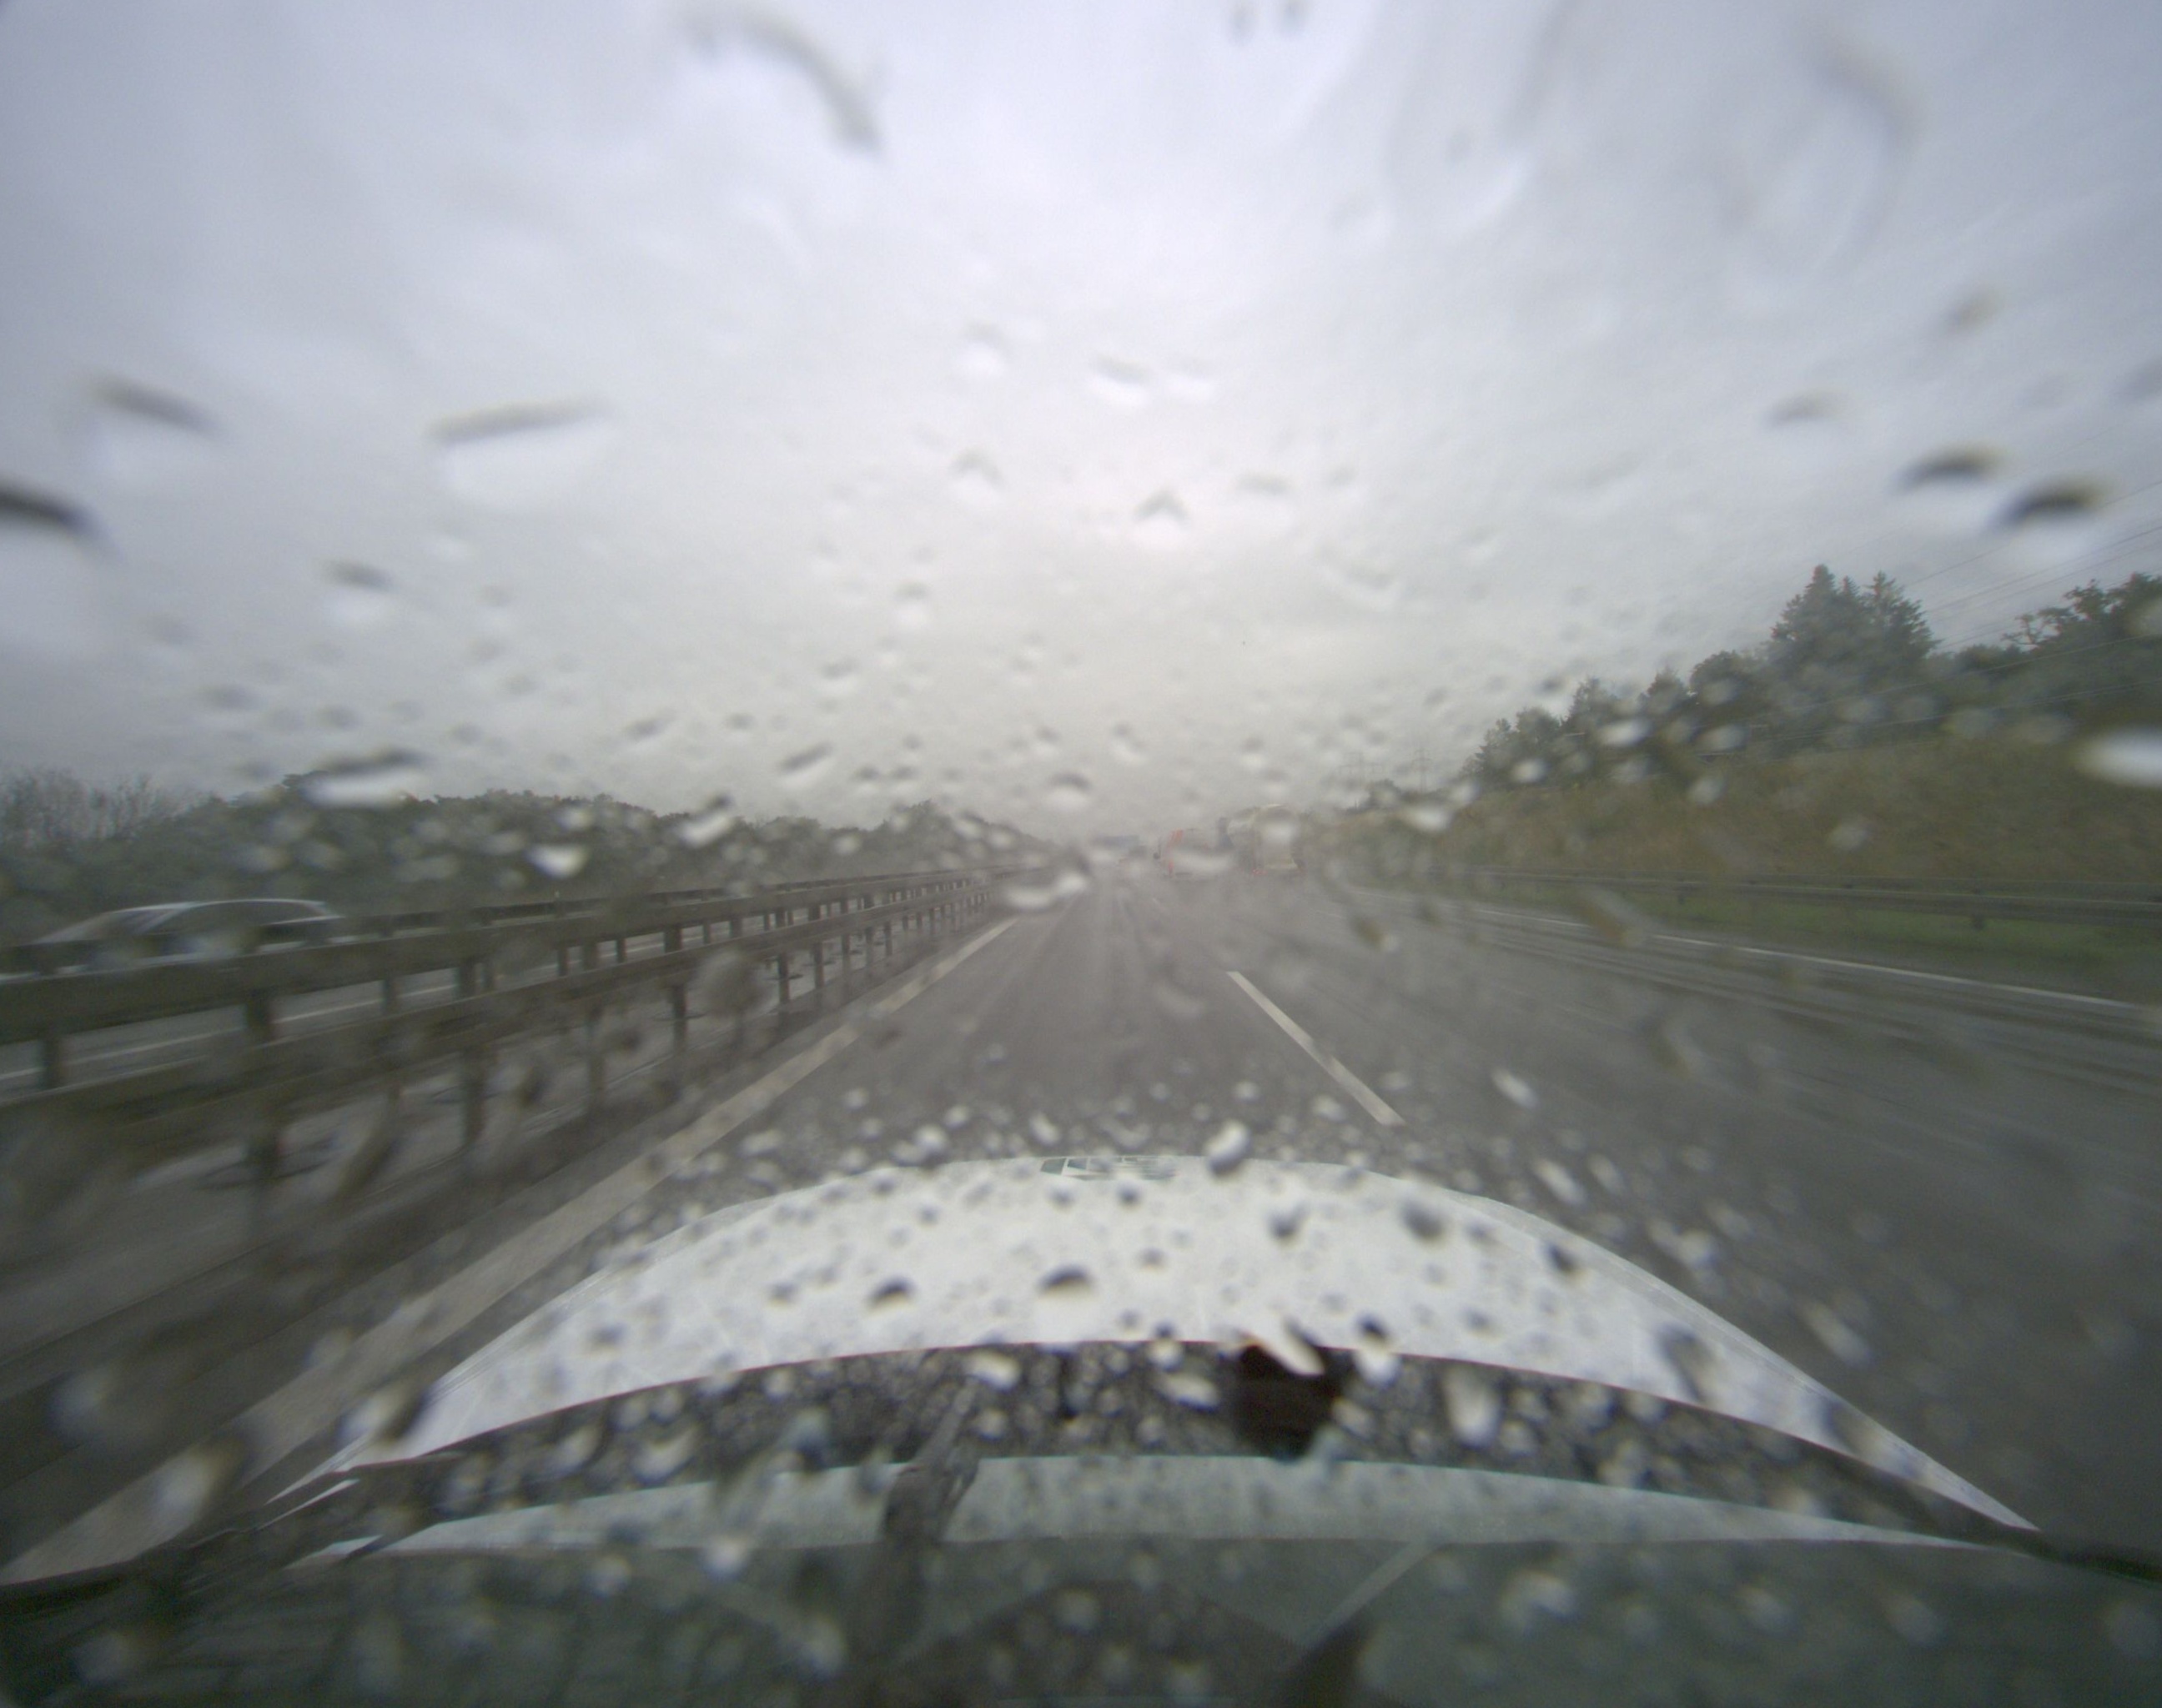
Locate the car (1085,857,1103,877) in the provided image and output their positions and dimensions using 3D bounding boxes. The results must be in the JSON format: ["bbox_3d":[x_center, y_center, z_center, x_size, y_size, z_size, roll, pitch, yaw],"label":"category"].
[{"bbox_3d":[1.264,1.224,78.269,1.695,1.818,3.863,-1,0,2],"label":"car"}]

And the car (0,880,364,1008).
[{"bbox_3d":[-14.531,1.254,12.978,1.986,1.530,4.656,-1,0,1],"label":"car"}]

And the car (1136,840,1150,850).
[{"bbox_3d":[13.263,-1.940,174.459,2.778,2.013,4.994,-1,0,1],"label":"car"}]

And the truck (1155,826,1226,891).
[{"bbox_3d":[4.487,0.174,34.286,2.410,2.492,5.563,-1,0,2],"label":"truck"}]

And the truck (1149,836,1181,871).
[{"bbox_3d":[11.589,0.048,114.045,3.029,4.588,16.350,-1,-1,1],"label":"truck"}]

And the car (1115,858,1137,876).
[{"bbox_3d":[3.536,1.033,64.187,1.600,1.338,3.849,-1,0,1],"label":"car"}]

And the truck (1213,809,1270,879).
[{"bbox_3d":[9.533,-0.567,48.837,2.488,3.983,5.076,-1,0,1],"label":"truck"}]

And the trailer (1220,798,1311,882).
[{"bbox_3d":[9.459,-0.637,43.207,2.488,3.882,11.068,-1,0,1],"label":"trailer"}]
